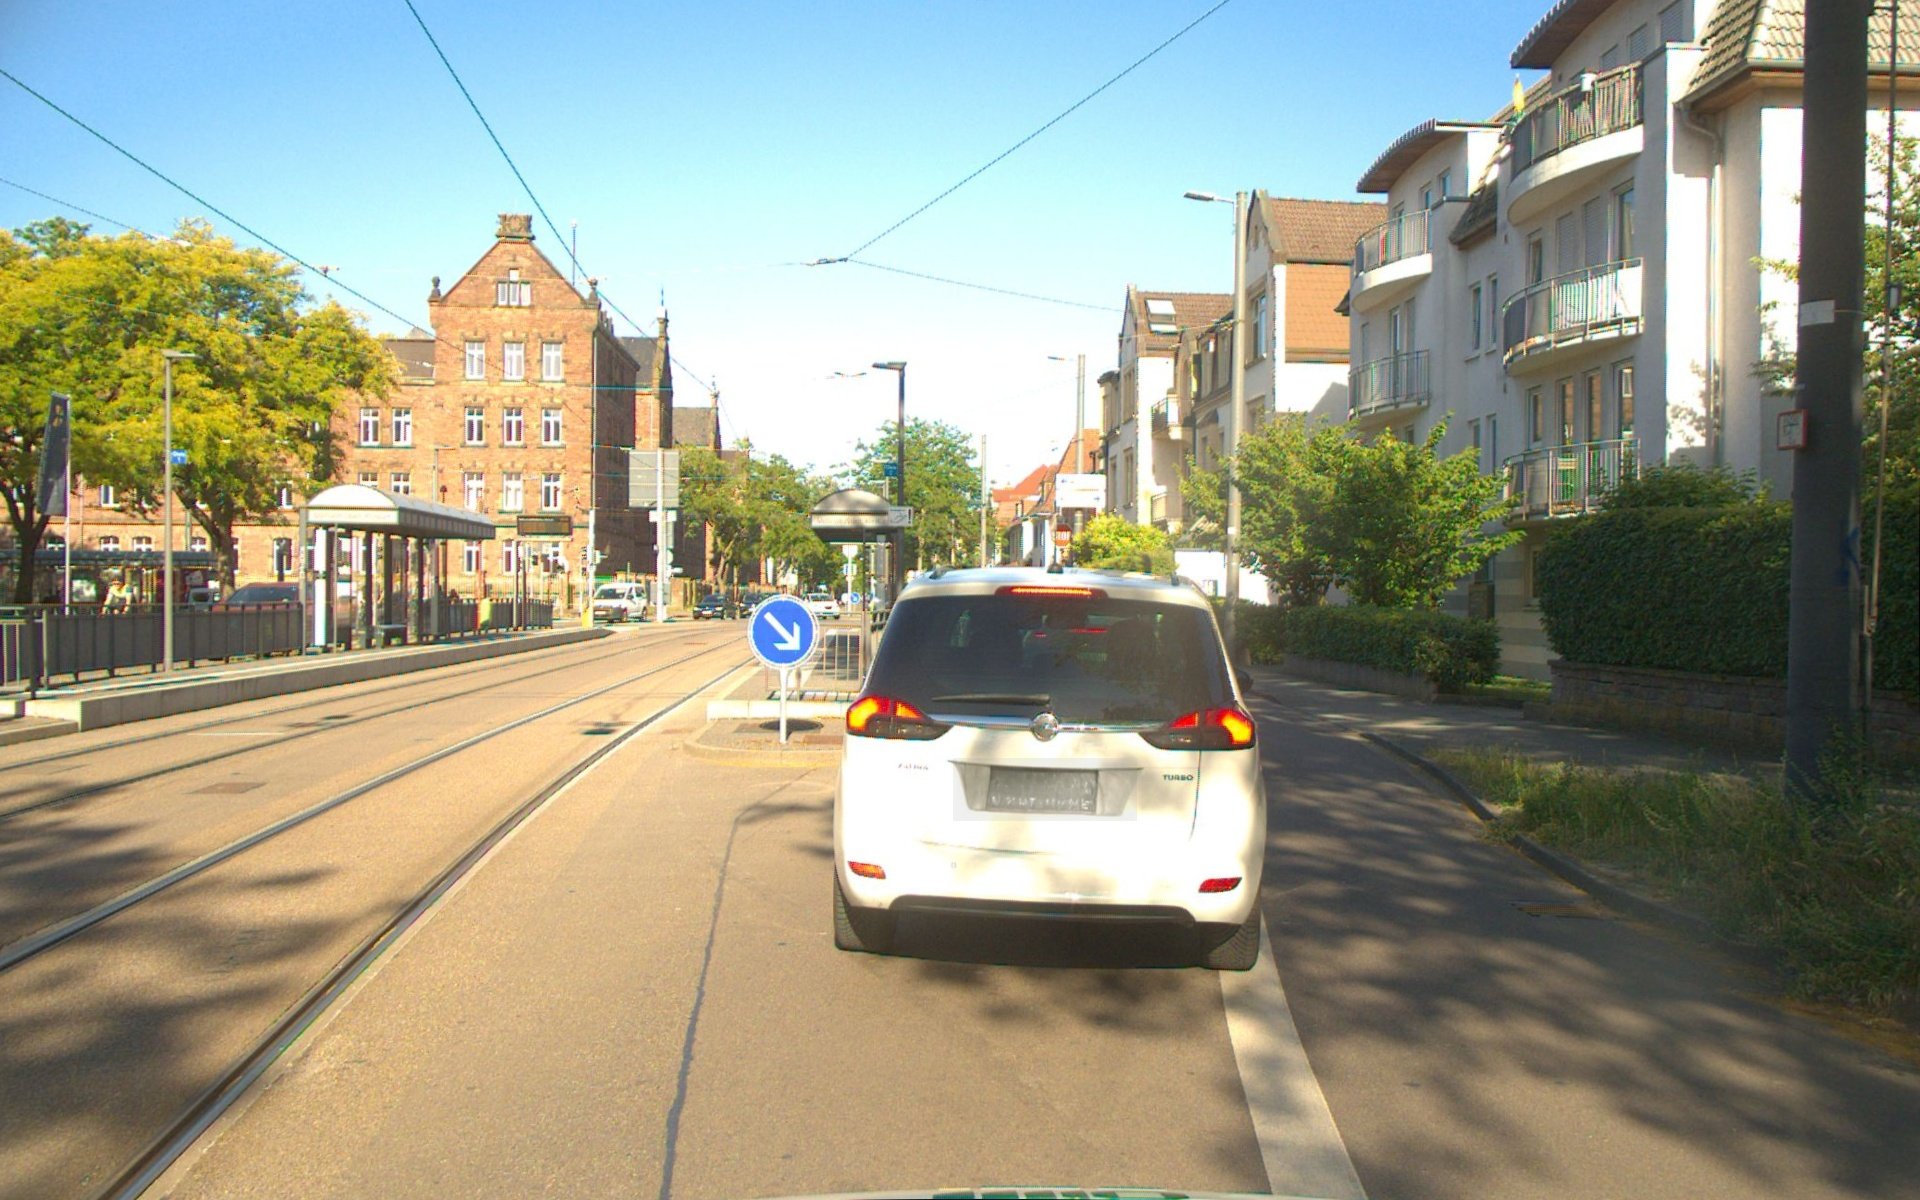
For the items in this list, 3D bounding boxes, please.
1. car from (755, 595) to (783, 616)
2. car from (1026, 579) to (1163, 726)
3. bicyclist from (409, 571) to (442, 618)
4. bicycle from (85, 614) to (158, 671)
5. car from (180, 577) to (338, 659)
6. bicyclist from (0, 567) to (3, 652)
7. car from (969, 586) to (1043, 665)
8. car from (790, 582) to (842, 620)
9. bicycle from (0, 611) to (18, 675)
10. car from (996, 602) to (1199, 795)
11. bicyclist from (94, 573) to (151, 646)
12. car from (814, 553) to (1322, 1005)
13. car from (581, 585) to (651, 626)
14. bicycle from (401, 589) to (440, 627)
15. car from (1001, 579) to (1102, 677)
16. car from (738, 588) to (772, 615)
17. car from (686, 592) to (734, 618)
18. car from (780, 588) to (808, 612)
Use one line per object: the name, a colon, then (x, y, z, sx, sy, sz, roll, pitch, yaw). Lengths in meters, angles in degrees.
car: (-13.477, 0.396, 116.924, 1.791, 1.471, 4.322, 1, -1, -5)
car: (1.712, 0.592, 21.048, 1.536, 1.643, 3.786, 2, 0, 5)
bicyclist: (-18.153, -0.181, 56.176, 0.745, 1.563, 1.347, 0, 0, -3)
bicycle: (-17.379, 0.899, 34.307, 0.671, 1.108, 1.853, -2, -3, -4)
car: (-14.993, 0.359, 35.605, 1.782, 1.635, 4.356, 0, 0, -4)
bicyclist: (-17.019, 0.162, 28.269, 0.639, 1.485, 1.152, 0, 0, 0)
car: (1.070, 0.573, 40.051, 1.563, 1.663, 3.901, 2, 1, -1)
car: (-8.078, 0.039, 92.371, 1.964, 2.049, 3.976, 0, 0, -20)
bicycle: (-17.019, 0.750, 28.243, 0.670, 1.108, 2.063, 0, 0, 0)
car: (1.224, 0.766, 14.789, 1.536, 1.426, 3.786, 2, 0, 5)
bicyclist: (-17.373, 0.188, 34.326, 0.640, 1.485, 1.151, 0, 0, -4)
car: (0.551, 0.641, 8.086, 1.838, 1.613, 4.002, 1, 0, 5)
car: (-15.793, 0.227, 76.169, 1.788, 1.819, 4.258, 0, 0, 8)
bicycle: (-18.124, 0.260, 55.597, 0.761, 1.252, 2.087, 0, 0, -4)
car: (1.658, 0.486, 30.956, 1.563, 1.663, 3.900, 2, 0, -1)
car: (-13.154, 0.094, 106.159, 1.790, 1.645, 4.325, 1, -1, -3)
car: (-13.922, 0.263, 92.304, 1.760, 1.406, 4.497, 0, 1, 4)
car: (-14.529, 0.021, 144.995, 1.952, 2.049, 4.000, 0, 0, 0)
